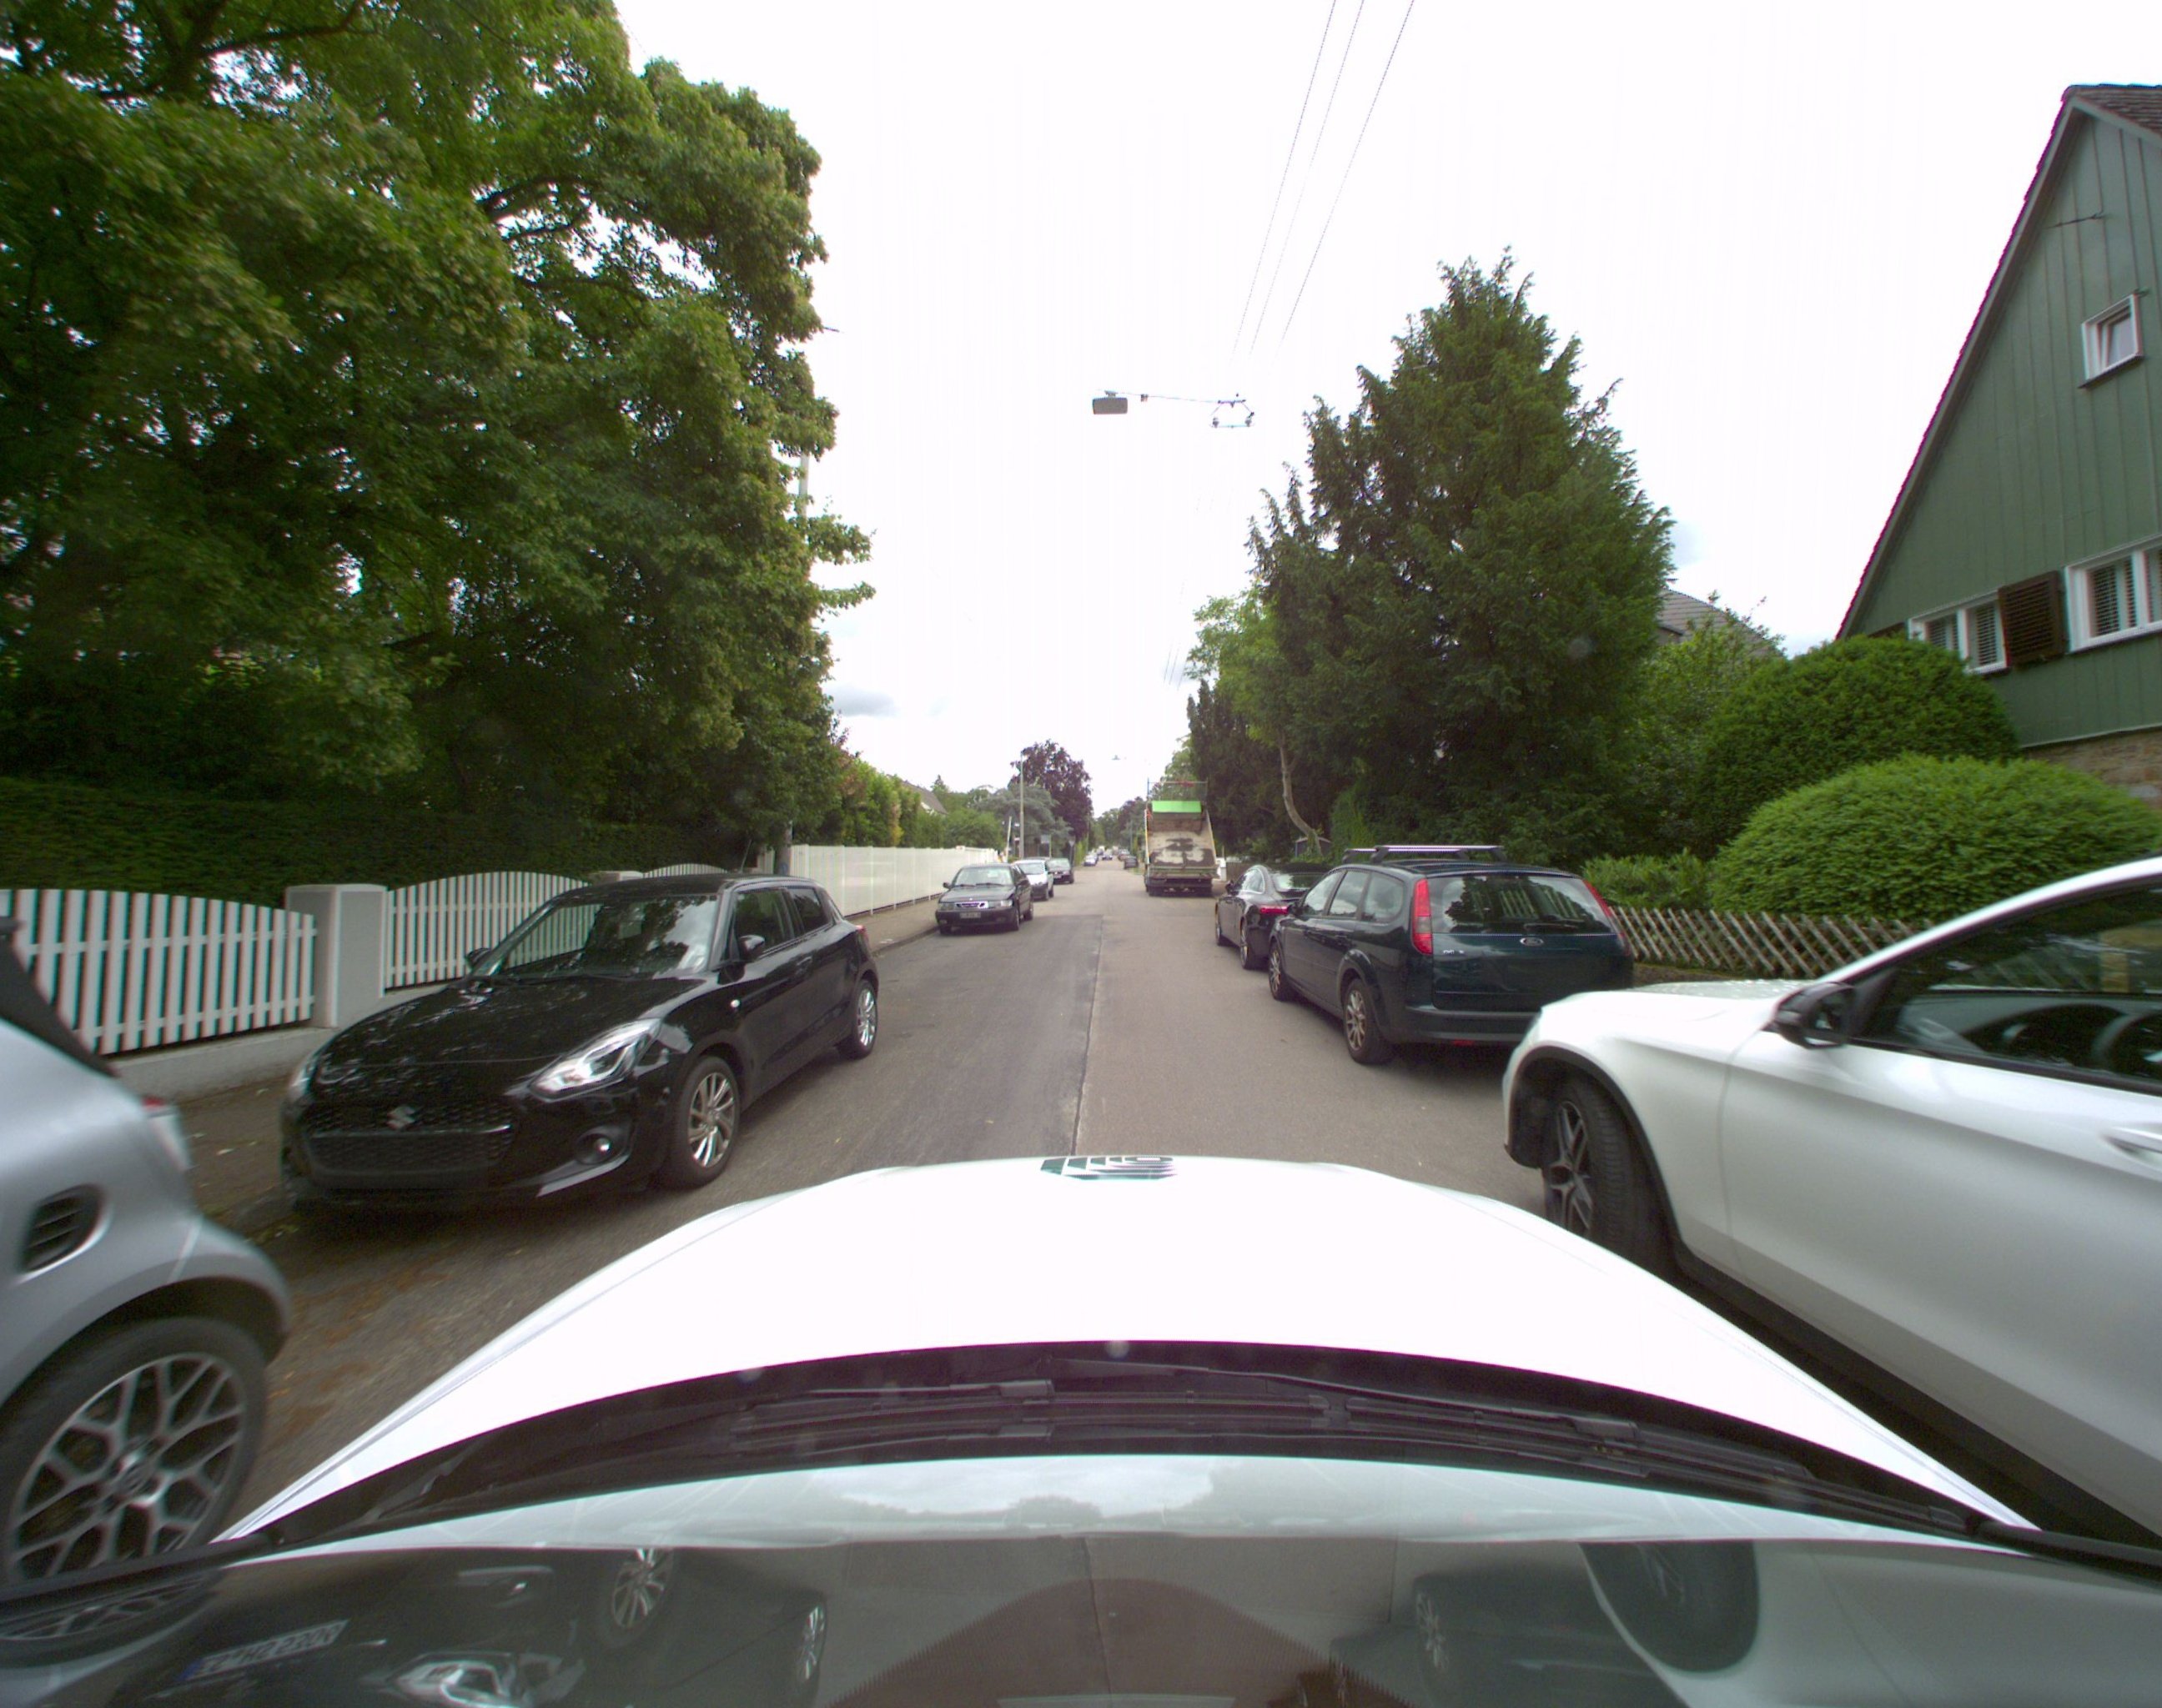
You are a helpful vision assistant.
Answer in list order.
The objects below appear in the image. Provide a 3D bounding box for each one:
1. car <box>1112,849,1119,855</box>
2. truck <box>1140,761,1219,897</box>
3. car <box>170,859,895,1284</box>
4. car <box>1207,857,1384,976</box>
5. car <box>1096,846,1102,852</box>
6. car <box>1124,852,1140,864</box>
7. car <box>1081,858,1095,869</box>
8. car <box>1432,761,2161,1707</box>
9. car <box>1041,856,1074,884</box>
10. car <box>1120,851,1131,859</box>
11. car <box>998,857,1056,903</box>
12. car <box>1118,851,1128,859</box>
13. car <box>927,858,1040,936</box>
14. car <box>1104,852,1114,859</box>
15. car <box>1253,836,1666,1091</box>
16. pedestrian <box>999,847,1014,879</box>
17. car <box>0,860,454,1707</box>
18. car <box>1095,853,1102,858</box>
[{"bbox_3d":[8.893,-0.497,210.098,1.628,1.701,3.495,0,1,1],"label":"car"},{"bbox_3d":[3.720,-0.878,32.142,2.514,4.748,7.192,0,0,3],"label":"truck"},{"bbox_3d":[-2.545,0.849,5.044,1.648,1.481,3.890,-3,0,2],"label":"car"},{"bbox_3d":[3.025,0.780,12.449,1.645,1.424,4.663,1,0,2],"label":"car"},{"bbox_3d":[5.766,-1.494,257.388,1.811,1.881,4.001,1,0,1],"label":"car"},{"bbox_3d":[6.317,0.526,101.815,1.772,1.489,4.001,0,0,1],"label":"car"},{"bbox_3d":[1.067,1.351,121.711,1.703,1.586,4.005,0,0,5],"label":"car"},{"bbox_3d":[2.635,0.657,1.684,1.752,1.606,4.572,1,0,-2],"label":"car"},{"bbox_3d":[-1.260,0.855,45.441,1.631,1.395,3.989,-3,0,1],"label":"car"},{"bbox_3d":[7.886,0.187,145.365,1.804,1.335,3.633,1,1,1],"label":"car"},{"bbox_3d":[-1.870,0.885,29.323,1.589,1.433,4.003,-2,0,3],"label":"car"},{"bbox_3d":[7.927,0.178,154.239,1.782,1.529,3.737,0,0,3],"label":"car"},{"bbox_3d":[-2.057,0.871,18.400,1.633,1.422,4.554,-3,0,4],"label":"car"},{"bbox_3d":[5.300,0.301,154.662,1.719,1.407,3.810,-1,0,6],"label":"car"},{"bbox_3d":[2.833,0.680,7.268,1.692,1.570,4.308,-1,0,0],"label":"car"},{"bbox_3d":[-4.677,0.555,51.348,0.850,2.013,0.700,1,0,-3],"label":"pedestrian"},{"bbox_3d":[-2.749,0.831,1.002,1.617,1.533,2.961,-3,0,-1],"label":"car"},{"bbox_3d":[4.471,0.364,210.262,1.620,1.386,3.599,1,0,1],"label":"car"}]
